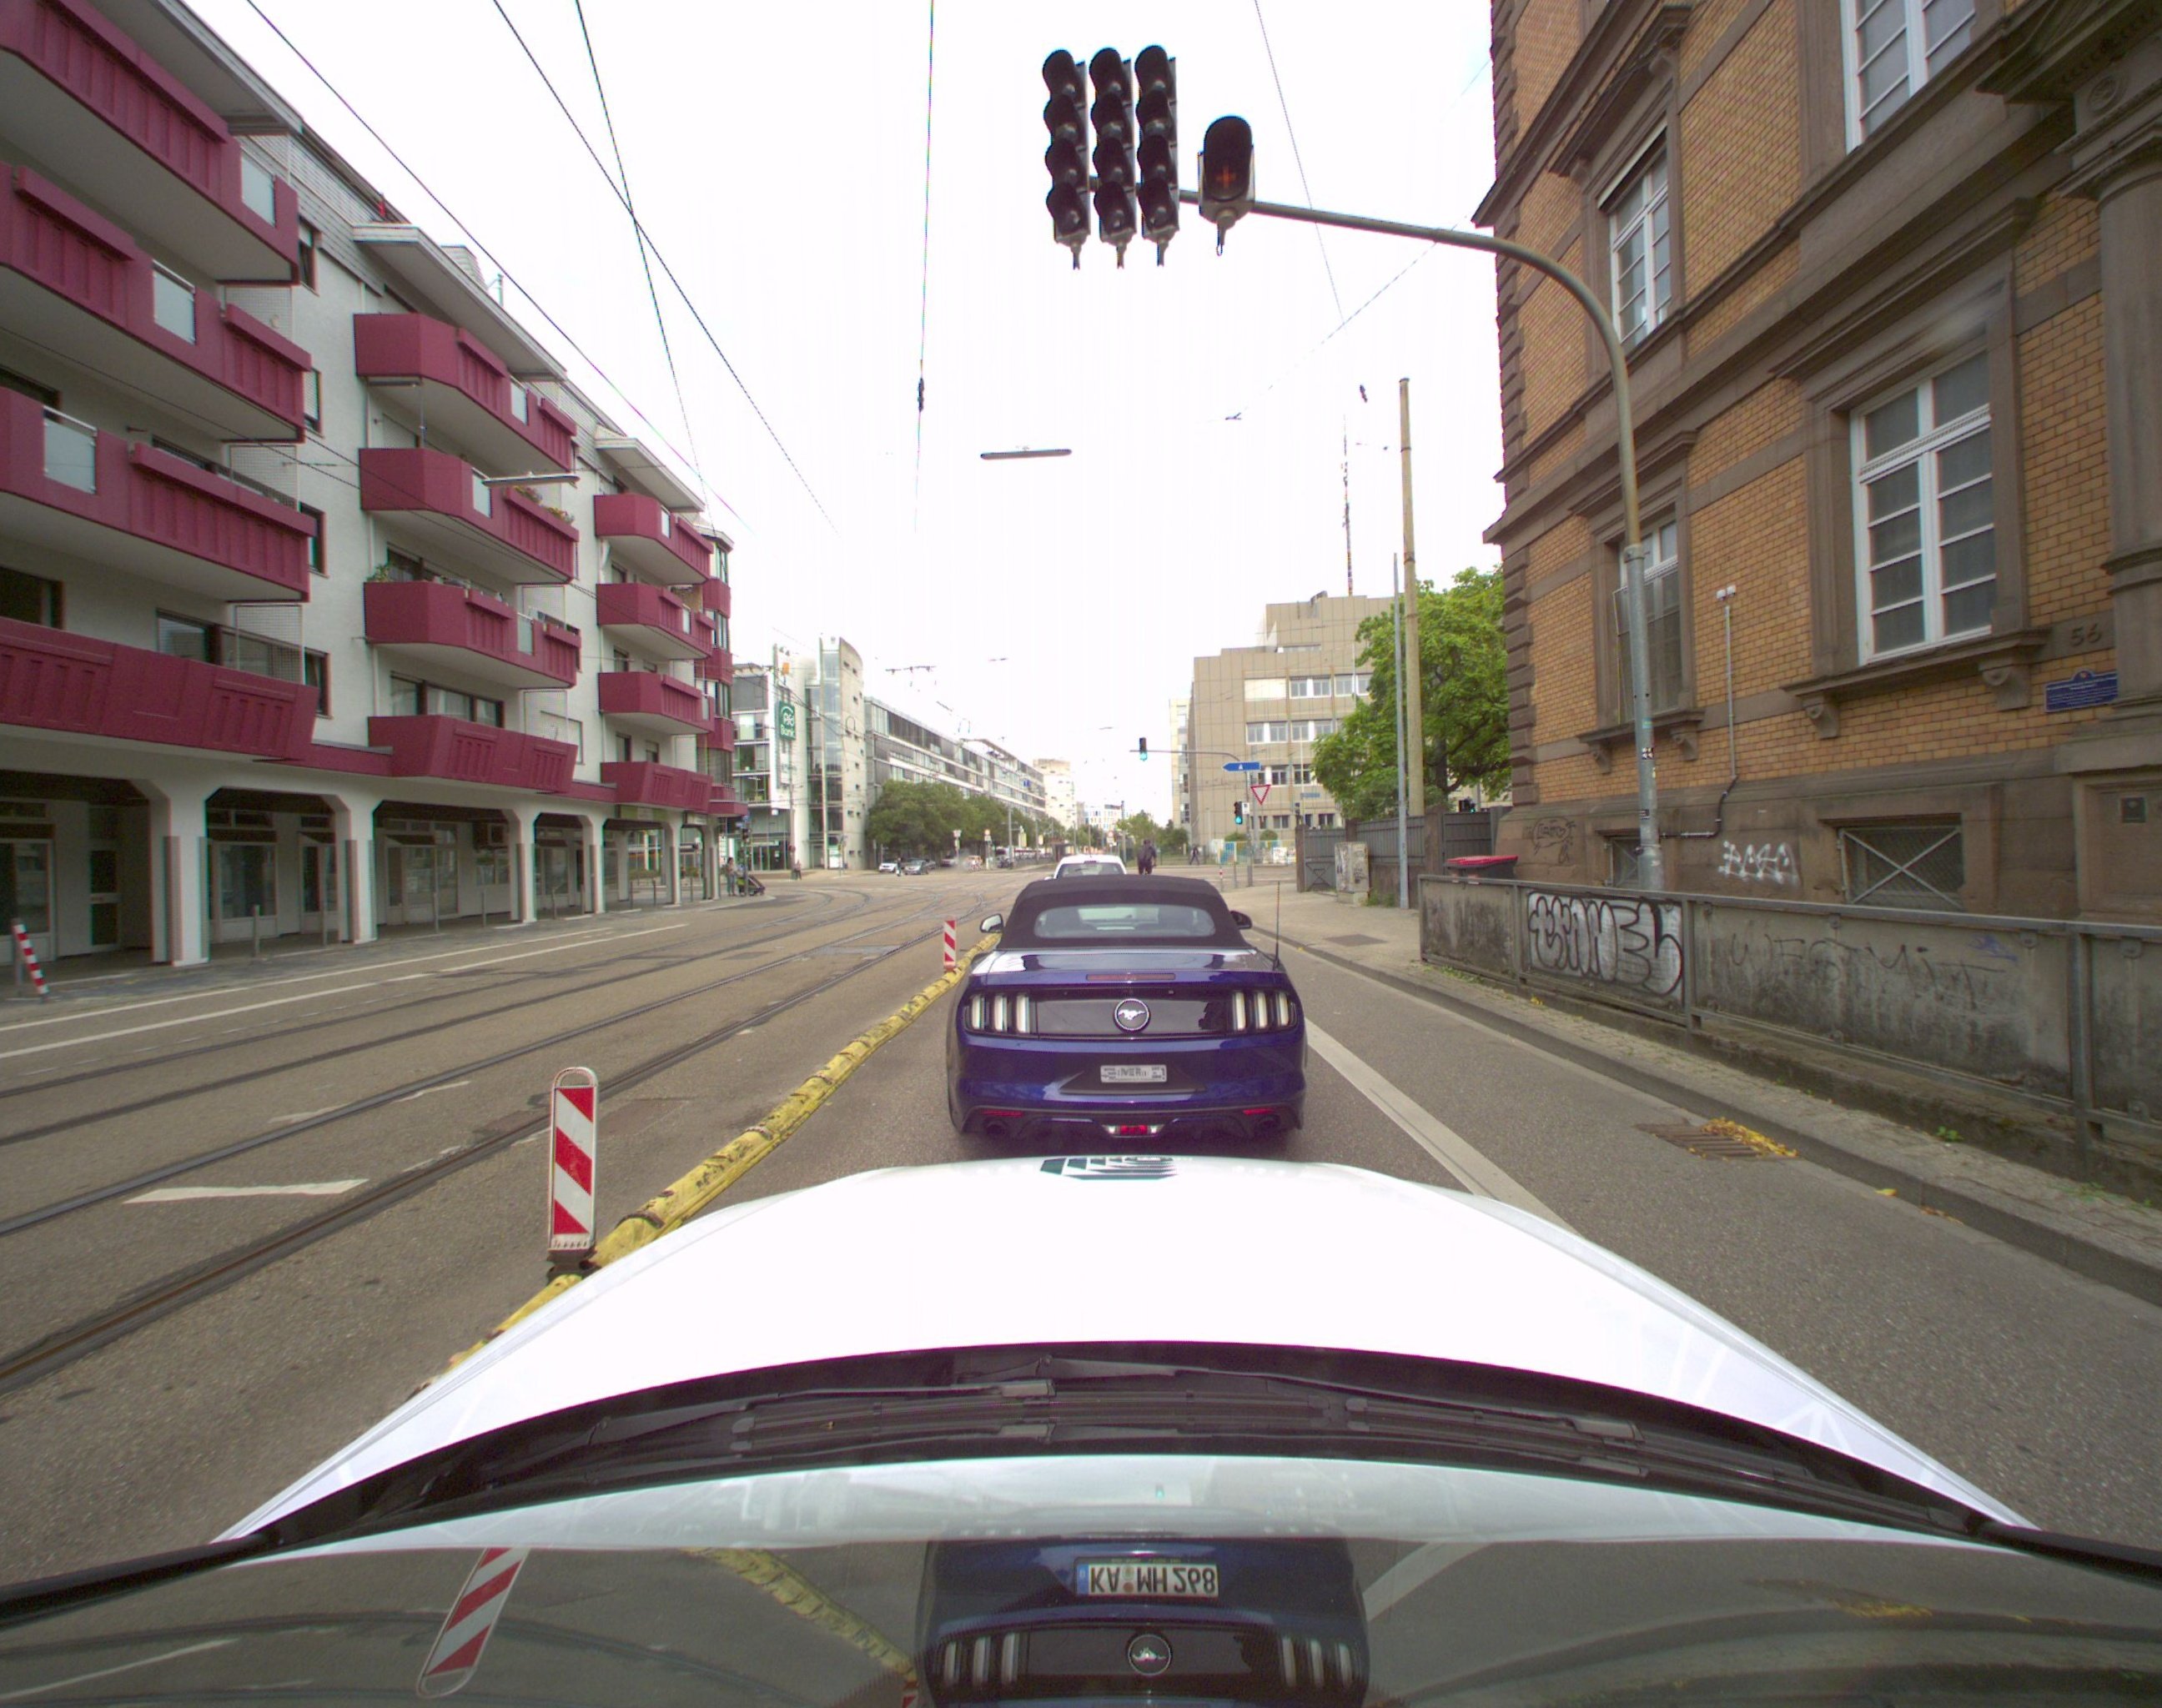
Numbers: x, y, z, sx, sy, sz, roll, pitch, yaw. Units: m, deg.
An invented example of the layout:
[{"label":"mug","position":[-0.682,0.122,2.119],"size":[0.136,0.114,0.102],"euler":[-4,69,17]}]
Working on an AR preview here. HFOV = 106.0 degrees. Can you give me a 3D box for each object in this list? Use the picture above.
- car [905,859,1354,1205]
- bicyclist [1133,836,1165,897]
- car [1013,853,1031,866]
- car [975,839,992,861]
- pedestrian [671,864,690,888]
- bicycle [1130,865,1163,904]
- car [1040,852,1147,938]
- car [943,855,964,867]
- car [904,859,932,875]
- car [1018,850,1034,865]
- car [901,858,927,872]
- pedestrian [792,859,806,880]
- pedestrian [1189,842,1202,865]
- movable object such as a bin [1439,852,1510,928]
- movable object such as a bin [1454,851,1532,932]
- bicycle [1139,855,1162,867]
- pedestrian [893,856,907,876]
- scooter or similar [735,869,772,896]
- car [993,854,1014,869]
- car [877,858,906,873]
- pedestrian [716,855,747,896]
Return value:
[{"label":"car","position":[0.282,0.764,5.556],"size":[1.869,1.404,4.284],"euler":[-1,0,2]},{"label":"bicyclist","position":[2.048,0.373,24.677],"size":[0.793,1.785,1.233],"euler":[-2,0,0]},{"label":"car","position":[-8.014,0.710,111.180],"size":[1.861,1.605,4.214],"euler":[-2,0,2]},{"label":"car","position":[-16.218,-0.611,135.978],"size":[1.978,3.636,4.516],"euler":[0,0,3]},{"label":"pedestrian","position":[-28.605,1.538,58.190],"size":[0.928,1.671,0.769],"euler":[-2,0,14]},{"label":"bicycle","position":[1.944,0.894,24.581],"size":[0.798,1.086,2.131],"euler":[-2,0,0]},{"label":"car","position":[0.141,0.720,16.360],"size":[1.831,1.439,4.183],"euler":[-2,0,-2]},{"label":"car","position":[-18.302,0.981,116.991],"size":[1.978,1.556,4.516],"euler":[0,0,3]},{"label":"car","position":[-16.730,1.323,83.682],"size":[1.659,1.506,4.242],"euler":[0,0,6]},{"label":"car","position":[-7.839,0.515,116.224],"size":[1.778,1.987,4.123],"euler":[-2,0,2]},{"label":"car","position":[-20.240,1.312,98.825],"size":[1.820,1.556,4.223],"euler":[0,0,6]},{"label":"pedestrian","position":[-25.295,1.380,73.016],"size":[0.828,1.865,0.769],"euler":[-2,0,14]},{"label":"pedestrian","position":[9.834,-0.032,69.900],"size":[1.080,1.898,0.904],"euler":[-2,0,7]},{"label":"movable object such as a bin","position":[6.052,0.545,12.551],"size":[0.649,1.082,0.677],"euler":[-5,-1,-4]},{"label":"movable object such as a bin","position":[5.969,0.536,11.836],"size":[0.662,1.082,0.700],"euler":[-5,-1,-3]},{"label":"bicycle","position":[6.188,0.644,72.744],"size":[0.637,0.981,2.133],"euler":[-2,-2,-40]},{"label":"pedestrian","position":[-17.236,1.162,77.394],"size":[0.983,1.855,0.904],"euler":[-2,0,8]},{"label":"scooter or similar","position":[-14.334,1.240,35.685],"size":[1.192,1.128,0.946],"euler":[-1,0,-1]},{"label":"car","position":[-9.278,0.862,97.665],"size":[1.872,1.628,4.089],"euler":[-2,0,2]},{"label":"car","position":[-21.290,1.280,91.679],"size":[1.820,1.556,4.223],"euler":[0,0,6]},{"label":"pedestrian","position":[-15.283,0.943,35.632],"size":[0.945,1.743,0.811],"euler":[-2,0,-2]}]
